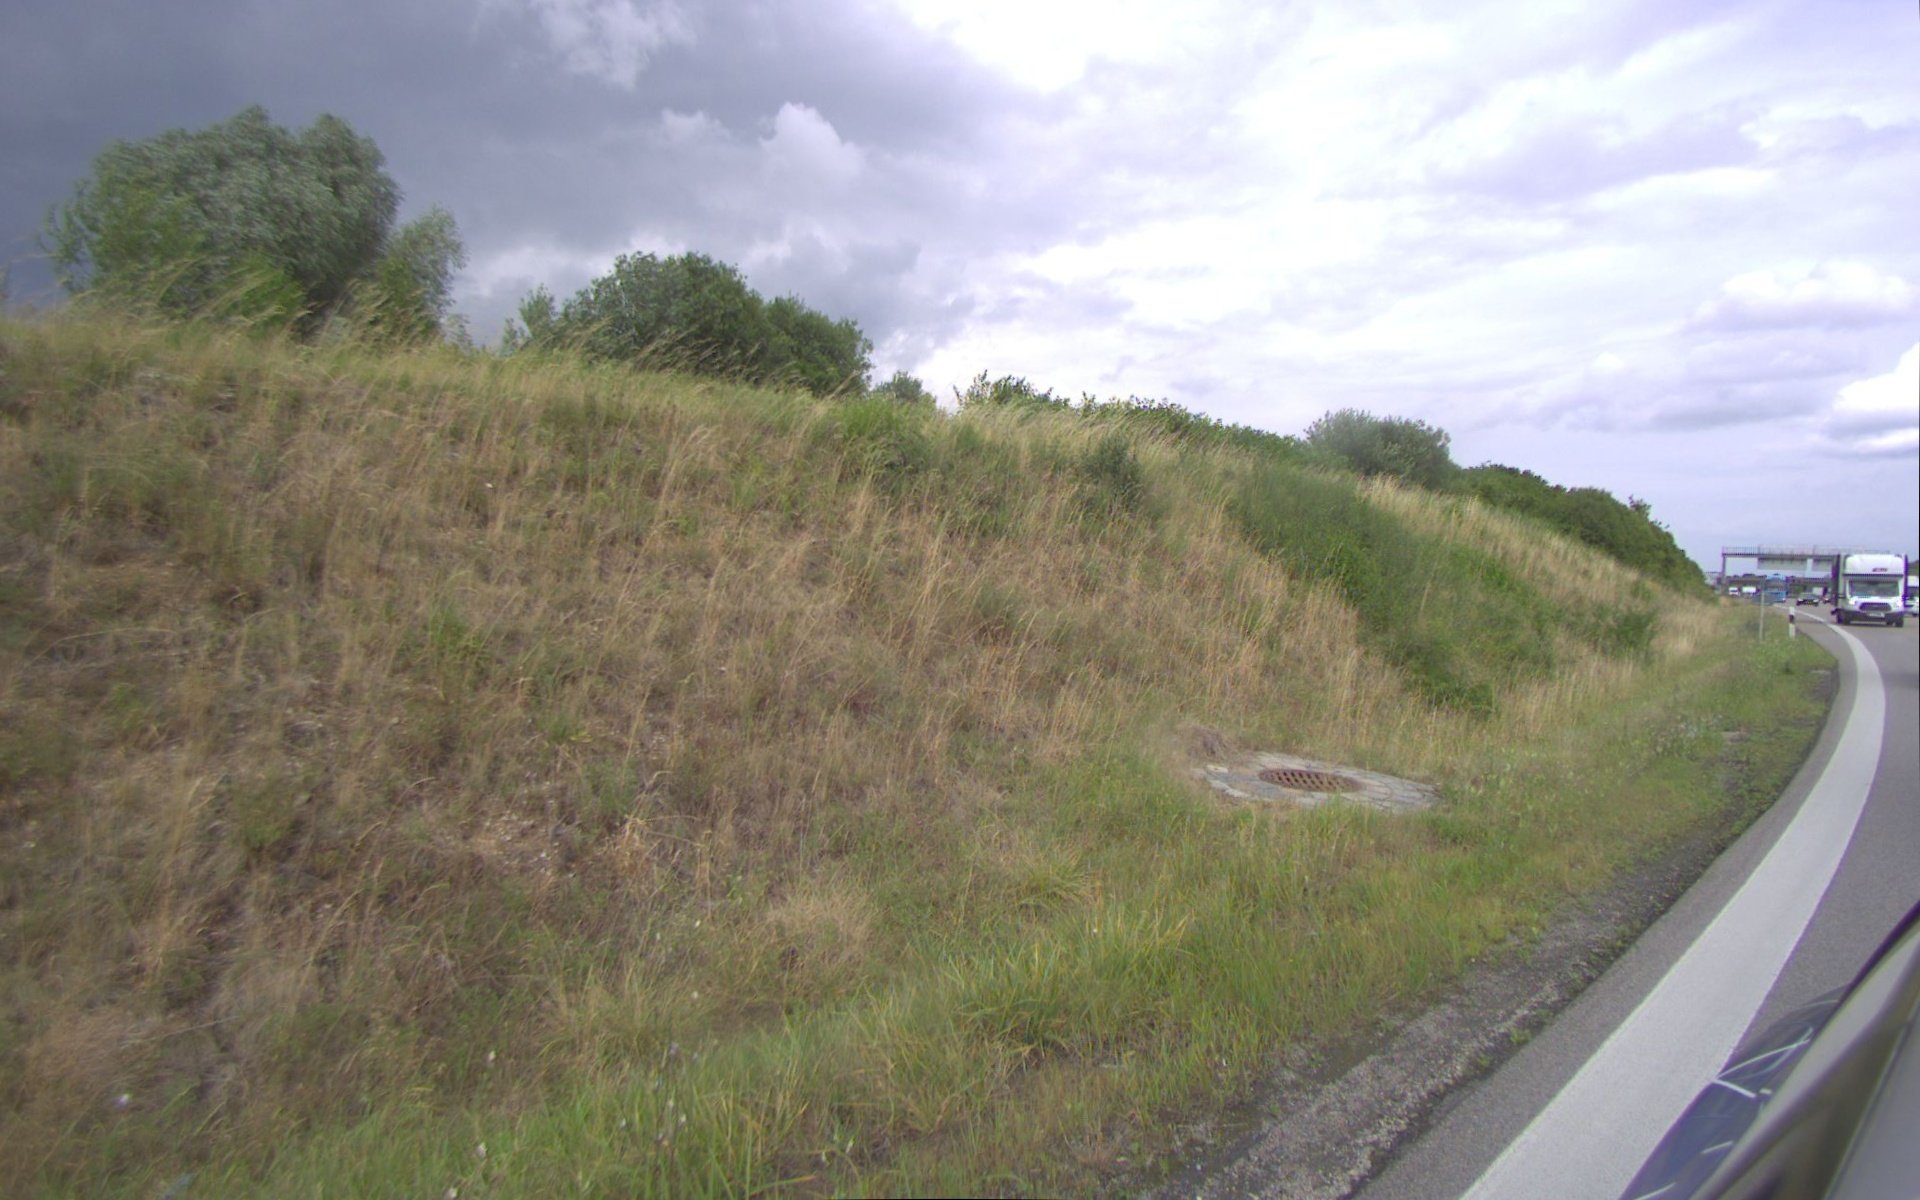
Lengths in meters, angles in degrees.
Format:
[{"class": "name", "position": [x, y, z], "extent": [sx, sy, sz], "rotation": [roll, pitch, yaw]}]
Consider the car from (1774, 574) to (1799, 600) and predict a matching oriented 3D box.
[{"class": "car", "position": [120.669, -1.912, 147.745], "extent": [2.493, 3.757, 7.597], "rotation": [2, 2, 38]}]

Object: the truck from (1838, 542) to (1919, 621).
[{"class": "truck", "position": [41.613, -0.850, 45.783], "extent": [2.438, 3.275, 7.091], "rotation": [2, 2, 38]}]

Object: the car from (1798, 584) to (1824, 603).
[{"class": "car", "position": [94.942, -0.733, 112.904], "extent": [1.990, 2.038, 3.945], "rotation": [2, 2, 38]}]

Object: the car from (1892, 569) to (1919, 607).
[{"class": "car", "position": [62.454, -0.794, 66.191], "extent": [1.991, 2.425, 3.942], "rotation": [0, 1, 41]}]
